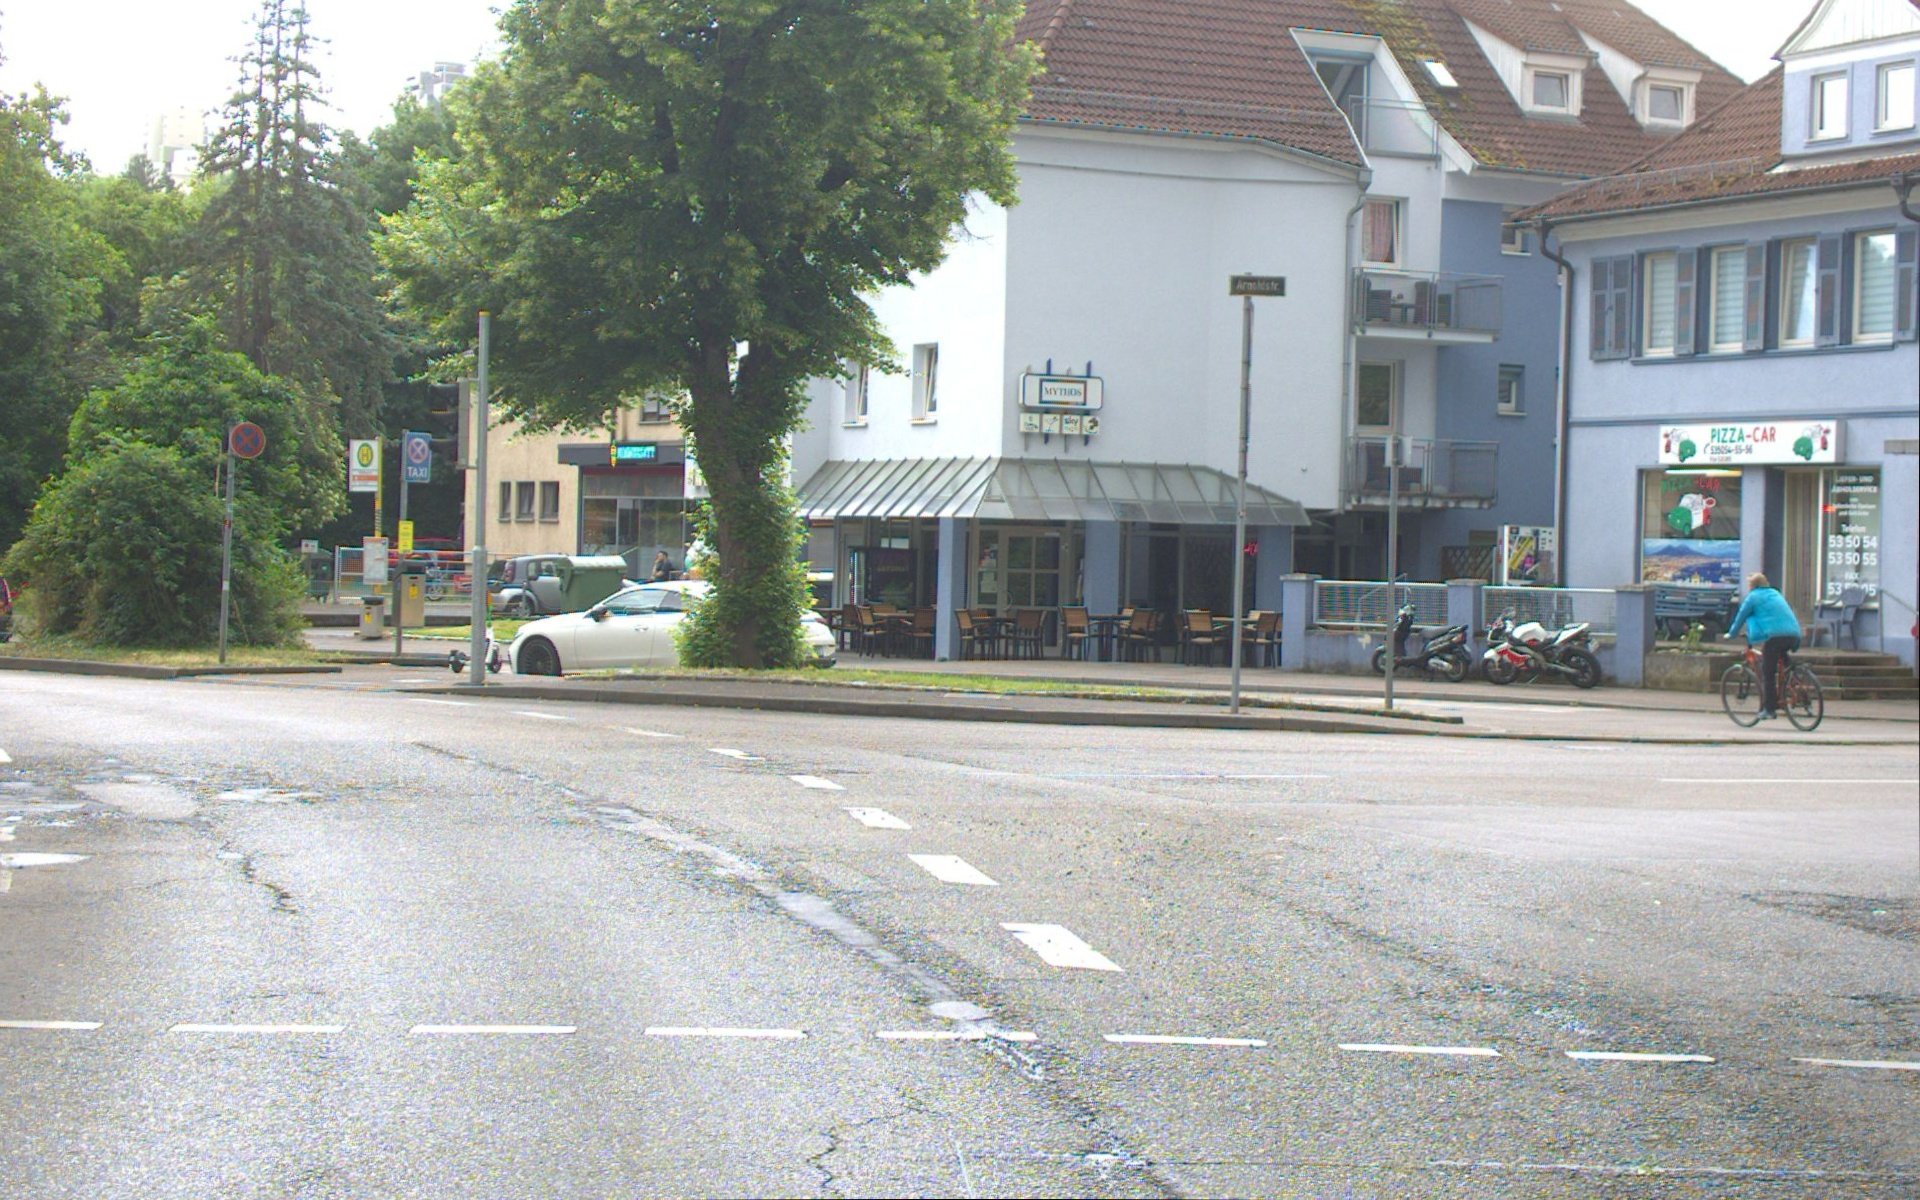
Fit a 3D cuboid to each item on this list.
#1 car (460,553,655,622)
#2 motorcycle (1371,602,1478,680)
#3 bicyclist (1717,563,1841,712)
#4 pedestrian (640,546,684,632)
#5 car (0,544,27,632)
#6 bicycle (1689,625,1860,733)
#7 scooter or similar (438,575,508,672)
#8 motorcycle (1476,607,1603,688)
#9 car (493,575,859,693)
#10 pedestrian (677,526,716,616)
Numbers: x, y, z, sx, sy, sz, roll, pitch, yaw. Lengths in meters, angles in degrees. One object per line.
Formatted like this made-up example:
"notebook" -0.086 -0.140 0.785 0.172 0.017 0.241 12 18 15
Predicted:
"car" -8.864 -0.273 75.630 3.936 1.437 1.753 1 1 -20
"motorcycle" 6.771 0.589 50.137 1.458 1.085 0.523 1 1 35
"bicyclist" 9.207 0.414 38.684 0.915 1.646 0.989 1 1 -23
"pedestrian" -7.022 -0.264 80.945 0.837 2.007 1.056 1 1 -14
"car" -16.423 -0.219 53.520 3.322 1.347 1.778 1 1 27
"bicycle" 9.169 0.877 38.782 0.873 1.145 1.953 1 1 -23
"scooter or similar" -6.031 0.282 42.617 0.442 1.171 1.437 1 1 9
"motorcycle" 8.147 0.661 48.368 1.628 1.085 0.626 1 1 32
"car" -3.806 0.419 45.762 4.709 1.405 1.898 2 1 35
"pedestrian" -4.537 -0.500 59.286 0.543 1.554 0.467 0 0 13
